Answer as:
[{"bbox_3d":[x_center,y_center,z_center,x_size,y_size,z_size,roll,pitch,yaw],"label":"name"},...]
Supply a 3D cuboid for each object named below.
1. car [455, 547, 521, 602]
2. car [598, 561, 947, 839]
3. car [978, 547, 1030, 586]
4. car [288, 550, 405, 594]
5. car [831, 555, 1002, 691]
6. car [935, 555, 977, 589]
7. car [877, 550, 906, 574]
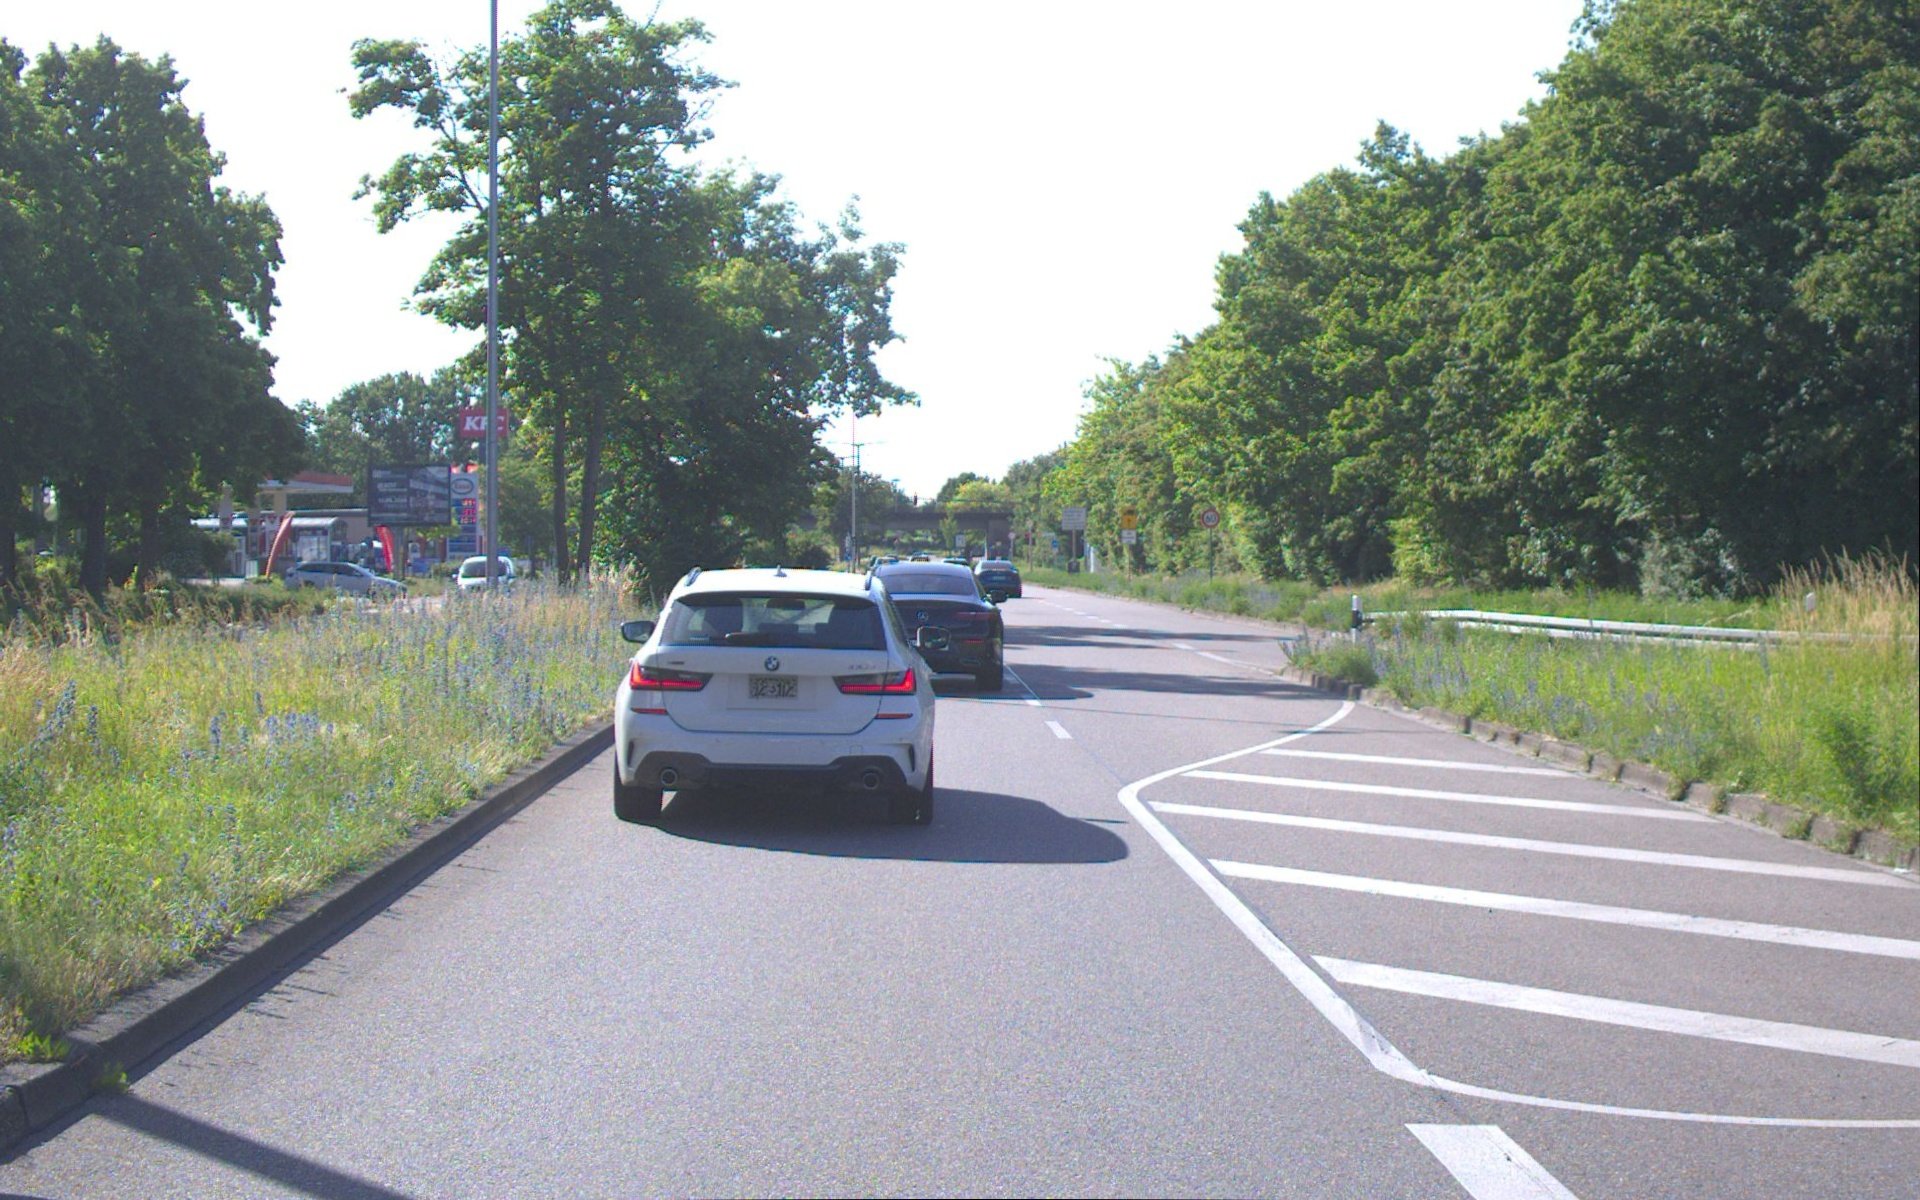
[{"bbox_3d":[-15.186,-0.827,110.680,1.706,1.740,4.166,0,1,-2],"label":"car"},{"bbox_3d":[-1.046,0.515,20.860,1.861,1.450,4.548,1,1,-1],"label":"car"},{"bbox_3d":[1.670,-1.298,132.182,1.861,1.494,4.337,0,1,-1],"label":"car"},{"bbox_3d":[-23.525,-1.080,131.946,4.110,1.656,1.893,-1,1,2],"label":"car"},{"bbox_3d":[-0.537,0.219,40.130,1.861,1.450,4.548,-1,1,-1],"label":"car"},{"bbox_3d":[-0.201,-1.337,162.557,1.771,1.550,3.834,0,1,-3],"label":"car"},{"bbox_3d":[-4.458,-2.499,224.300,1.861,1.560,4.548,0,1,-1],"label":"car"}]
